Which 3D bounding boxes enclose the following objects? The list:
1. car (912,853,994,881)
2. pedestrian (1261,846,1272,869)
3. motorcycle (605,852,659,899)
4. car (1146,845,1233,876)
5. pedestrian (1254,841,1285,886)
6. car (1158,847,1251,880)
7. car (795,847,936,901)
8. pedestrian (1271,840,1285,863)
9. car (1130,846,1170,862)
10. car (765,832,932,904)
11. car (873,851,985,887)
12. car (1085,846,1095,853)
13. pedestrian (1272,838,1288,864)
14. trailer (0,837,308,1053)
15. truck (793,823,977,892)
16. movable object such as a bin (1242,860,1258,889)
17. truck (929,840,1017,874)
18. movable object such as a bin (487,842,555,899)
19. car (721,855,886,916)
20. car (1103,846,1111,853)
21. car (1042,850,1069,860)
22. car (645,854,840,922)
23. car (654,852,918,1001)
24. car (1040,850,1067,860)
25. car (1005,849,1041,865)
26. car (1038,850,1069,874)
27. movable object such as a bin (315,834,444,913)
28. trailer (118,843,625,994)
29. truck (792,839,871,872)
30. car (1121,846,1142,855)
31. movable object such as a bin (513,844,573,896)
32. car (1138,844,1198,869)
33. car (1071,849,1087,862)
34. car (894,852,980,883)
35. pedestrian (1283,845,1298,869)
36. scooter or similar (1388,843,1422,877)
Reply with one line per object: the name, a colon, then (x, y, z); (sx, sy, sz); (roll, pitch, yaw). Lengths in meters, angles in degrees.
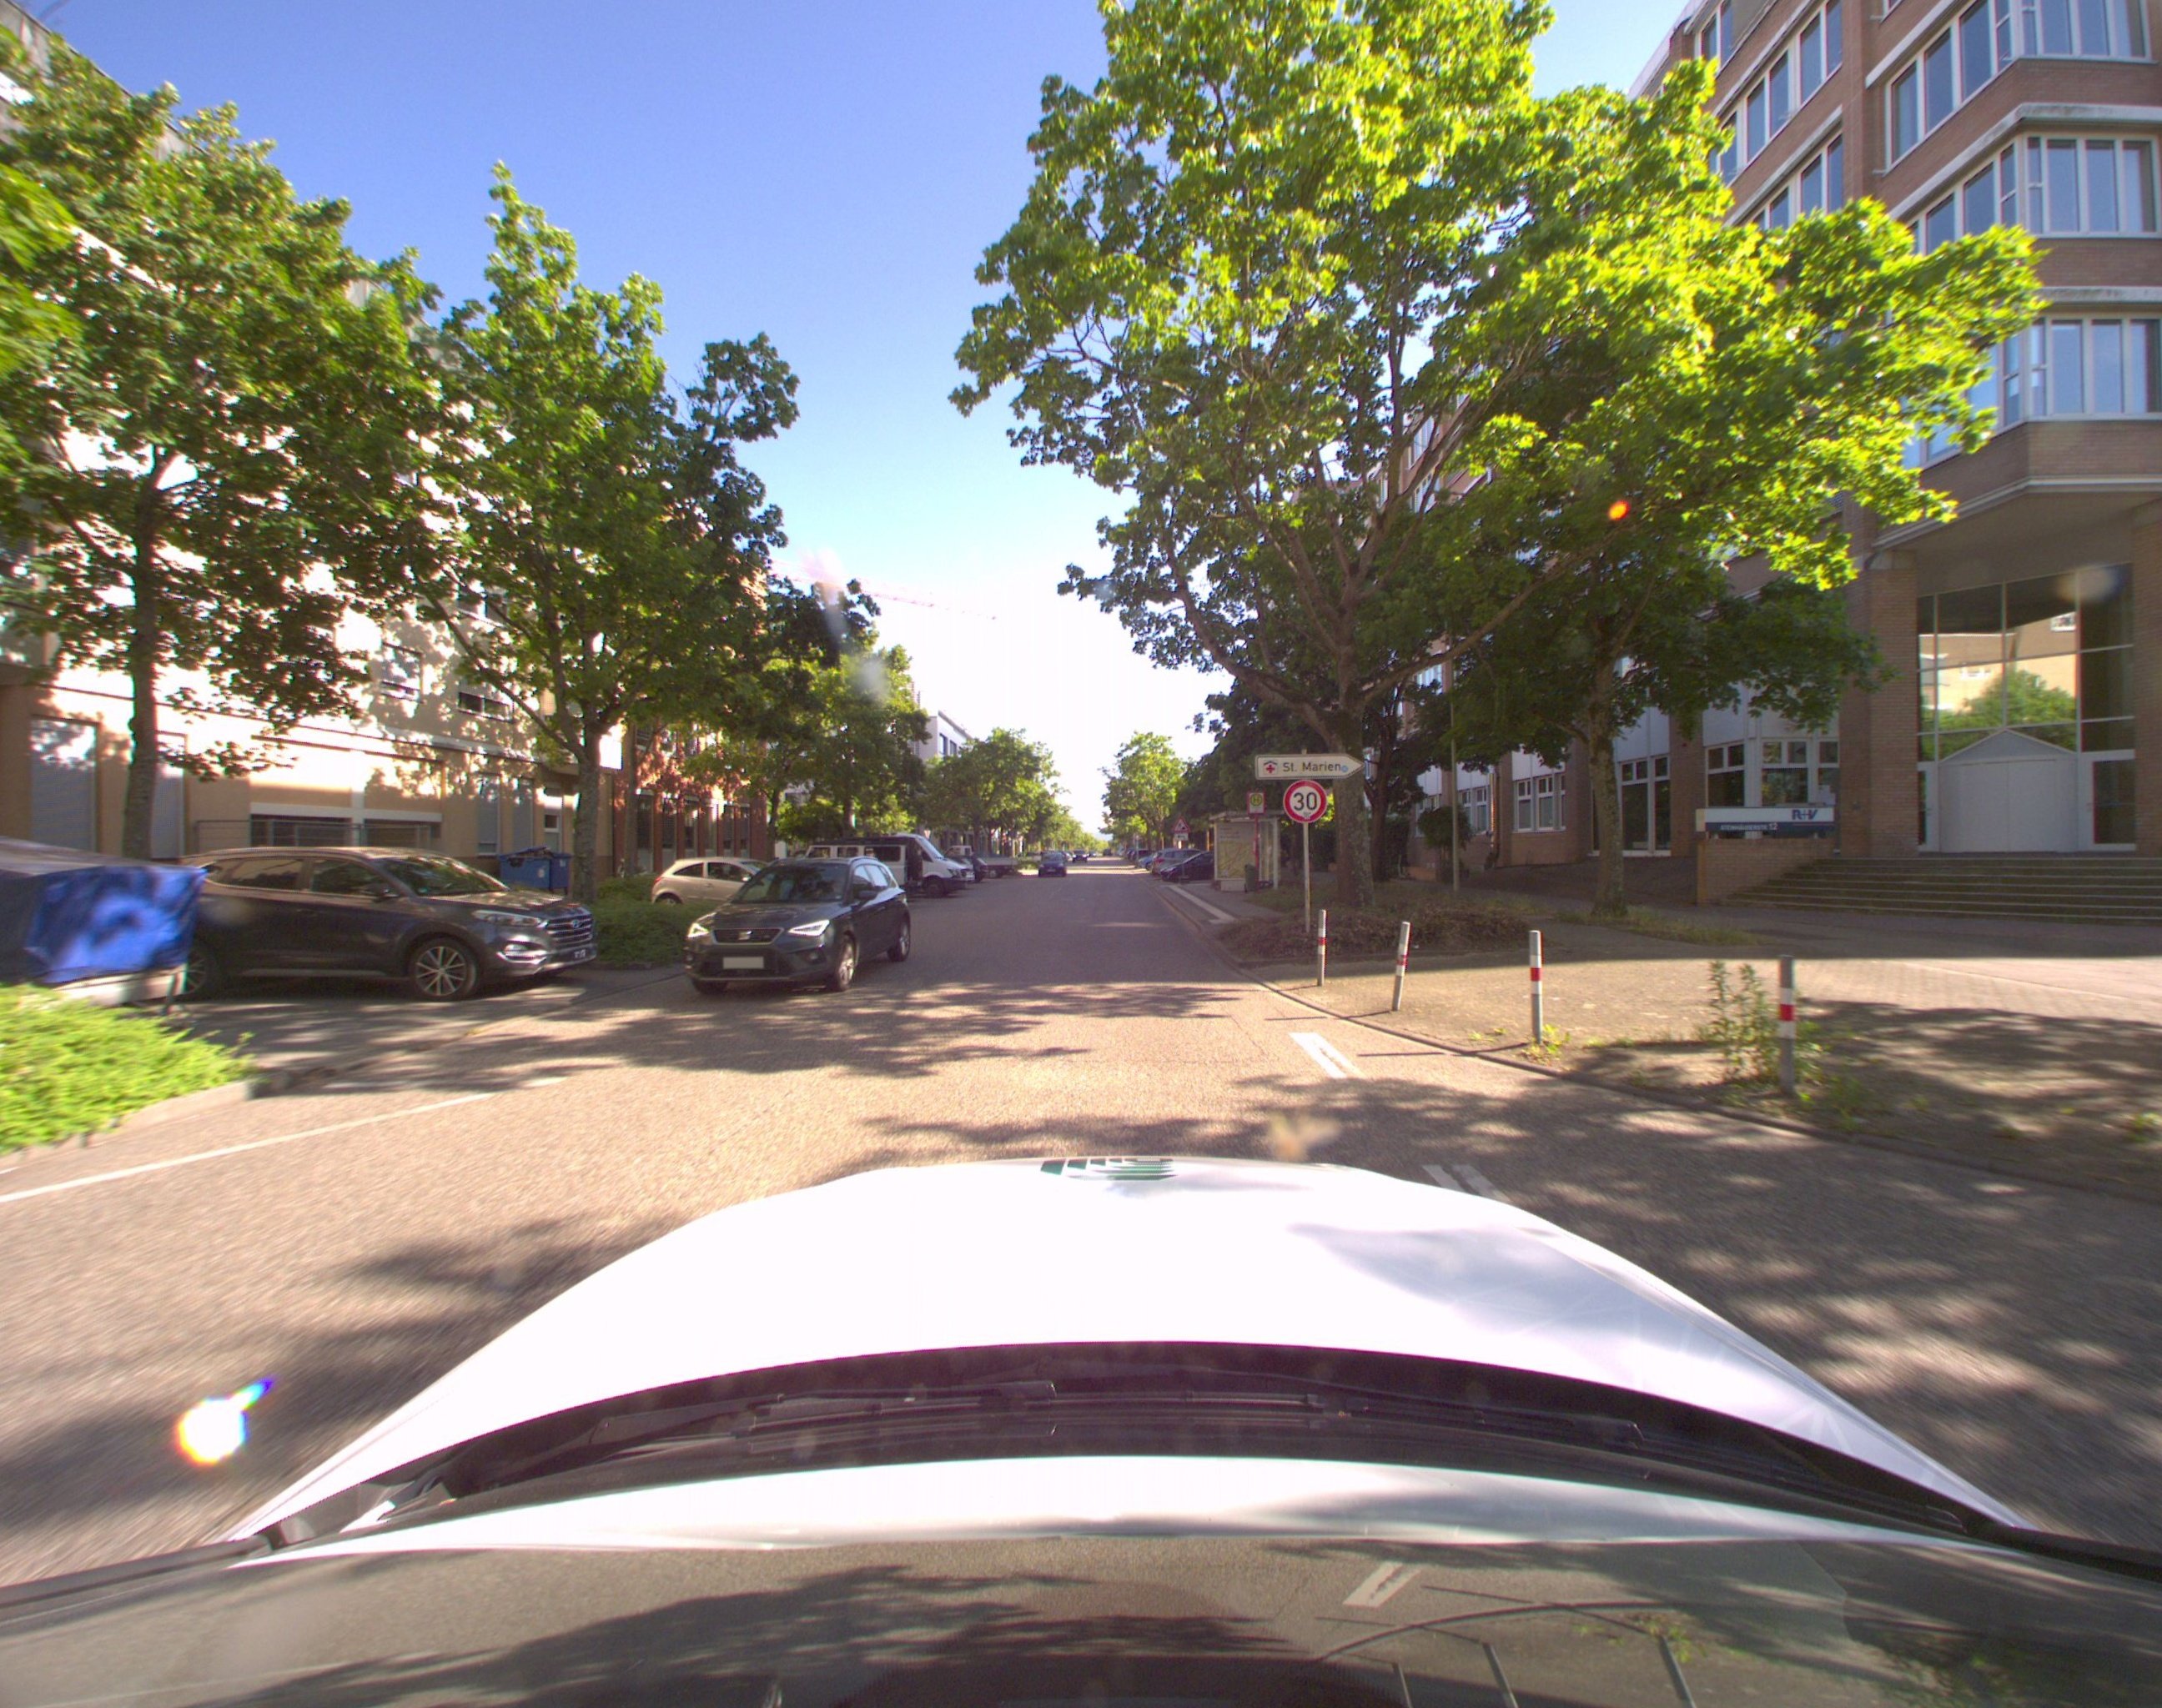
car: (-6.783, 0.686, 43.452); (3.967, 1.435, 1.792); (0, 0, 5)
pedestrian: (12.047, 0.224, 52.934); (0.599, 1.521, 0.596); (1, 0, 7)
motorcycle: (-16.081, 0.729, 29.214); (0.712, 1.591, 2.110); (-1, 0, 0)
car: (5.823, 0.338, 44.013); (4.344, 1.597, 1.936); (-1, 0, -5)
pedestrian: (7.621, 0.378, 32.953); (0.918, 1.711, 0.695); (-4, 1, -12)
car: (5.531, 0.420, 36.780); (3.922, 1.439, 1.774); (0, 0, -1)
car: (-7.088, 0.649, 27.133); (4.094, 1.662, 2.000); (1, 0, 0)
pedestrian: (12.775, -0.159, 52.779); (0.698, 1.458, 0.715); (-1, 0, -1)
car: (7.833, -0.020, 92.713); (4.255, 1.633, 1.857); (-2, 0, -1)
car: (-6.997, 0.416, 24.848); (4.467, 2.051, 2.000); (1, 0, -1)
car: (-6.616, 0.633, 35.879); (4.526, 1.442, 1.890); (1, 1, 0)
car: (1.923, -0.877, 169.029); (1.804, 1.415, 4.114); (0, 1, 5)
pedestrian: (13.728, -0.187, 56.104); (0.696, 1.711, 0.918); (-4, 1, -9)
trailer: (-9.150, 0.705, 7.335); (2.714, 1.687, 1.713); (1, 0, 2)
truck: (-7.127, 0.124, 30.133); (6.208, 2.422, 2.188); (0, 0, 2)
movable object such as a bin: (4.603, 0.552, 22.200); (0.297, 0.753, 0.467); (-3, 0, 2)
truck: (-6.484, 0.166, 49.333); (4.963, 1.959, 2.140); (0, 0, 3)
movable object such as a bin: (-16.563, 0.468, 24.132); (1.145, 1.619, 1.437); (-1, 0, -11)
car: (-7.387, 0.818, 21.929); (3.762, 1.492, 1.834); (1, 0, 3)
car: (6.196, -1.026, 193.362); (1.926, 1.597, 4.368); (-1, 0, 2)
car: (-3.781, 0.128, 122.410); (3.879, 1.464, 1.858); (-1, 0, 0)
car: (-7.872, 0.756, 19.141); (3.816, 1.461, 1.735); (1, 0, 5)
car: (-3.453, 0.741, 10.407); (1.773, 1.511, 4.002); (-1, 0, 2)
car: (-4.002, 0.128, 118.541); (3.879, 1.464, 1.858); (-1, 0, 0)
car: (-5.975, 0.332, 83.909); (3.569, 1.549, 1.636); (0, -2, -1)
car: (-1.692, 0.499, 51.278); (1.637, 1.420, 4.002); (-1, 0, 2)
movable object such as a bin: (-16.646, 0.436, 19.398); (1.592, 1.796, 1.666); (-1, 0, 4)
trailer: (-8.078, 0.691, 9.634); (4.249, 1.572, 1.855); (1, 0, -2)
truck: (-21.848, 0.116, 71.488); (6.084, 2.704, 2.578); (-1, 0, 0)
car: (10.099, -0.626, 164.181); (3.978, 1.792, 1.998); (-1, 0, -4)
movable object such as a bin: (-16.777, 0.488, 25.427); (1.145, 1.563, 1.240); (-1, 0, -11)
car: (6.647, 0.152, 62.559); (4.390, 1.618, 1.912); (-3, 0, 1)
car: (-0.259, 0.169, 105.408); (1.886, 1.684, 4.352); (-1, 0, 0)
car: (-7.229, 0.650, 41.187); (3.972, 1.435, 1.723); (-1, 1, 1)
pedestrian: (13.584, 0.187, 52.806); (0.754, 1.552, 0.559); (-1, 0, -1)
scooter or similar: (12.953, 0.227, 32.626); (0.547, 1.325, 1.804); (1, 0, -3)
